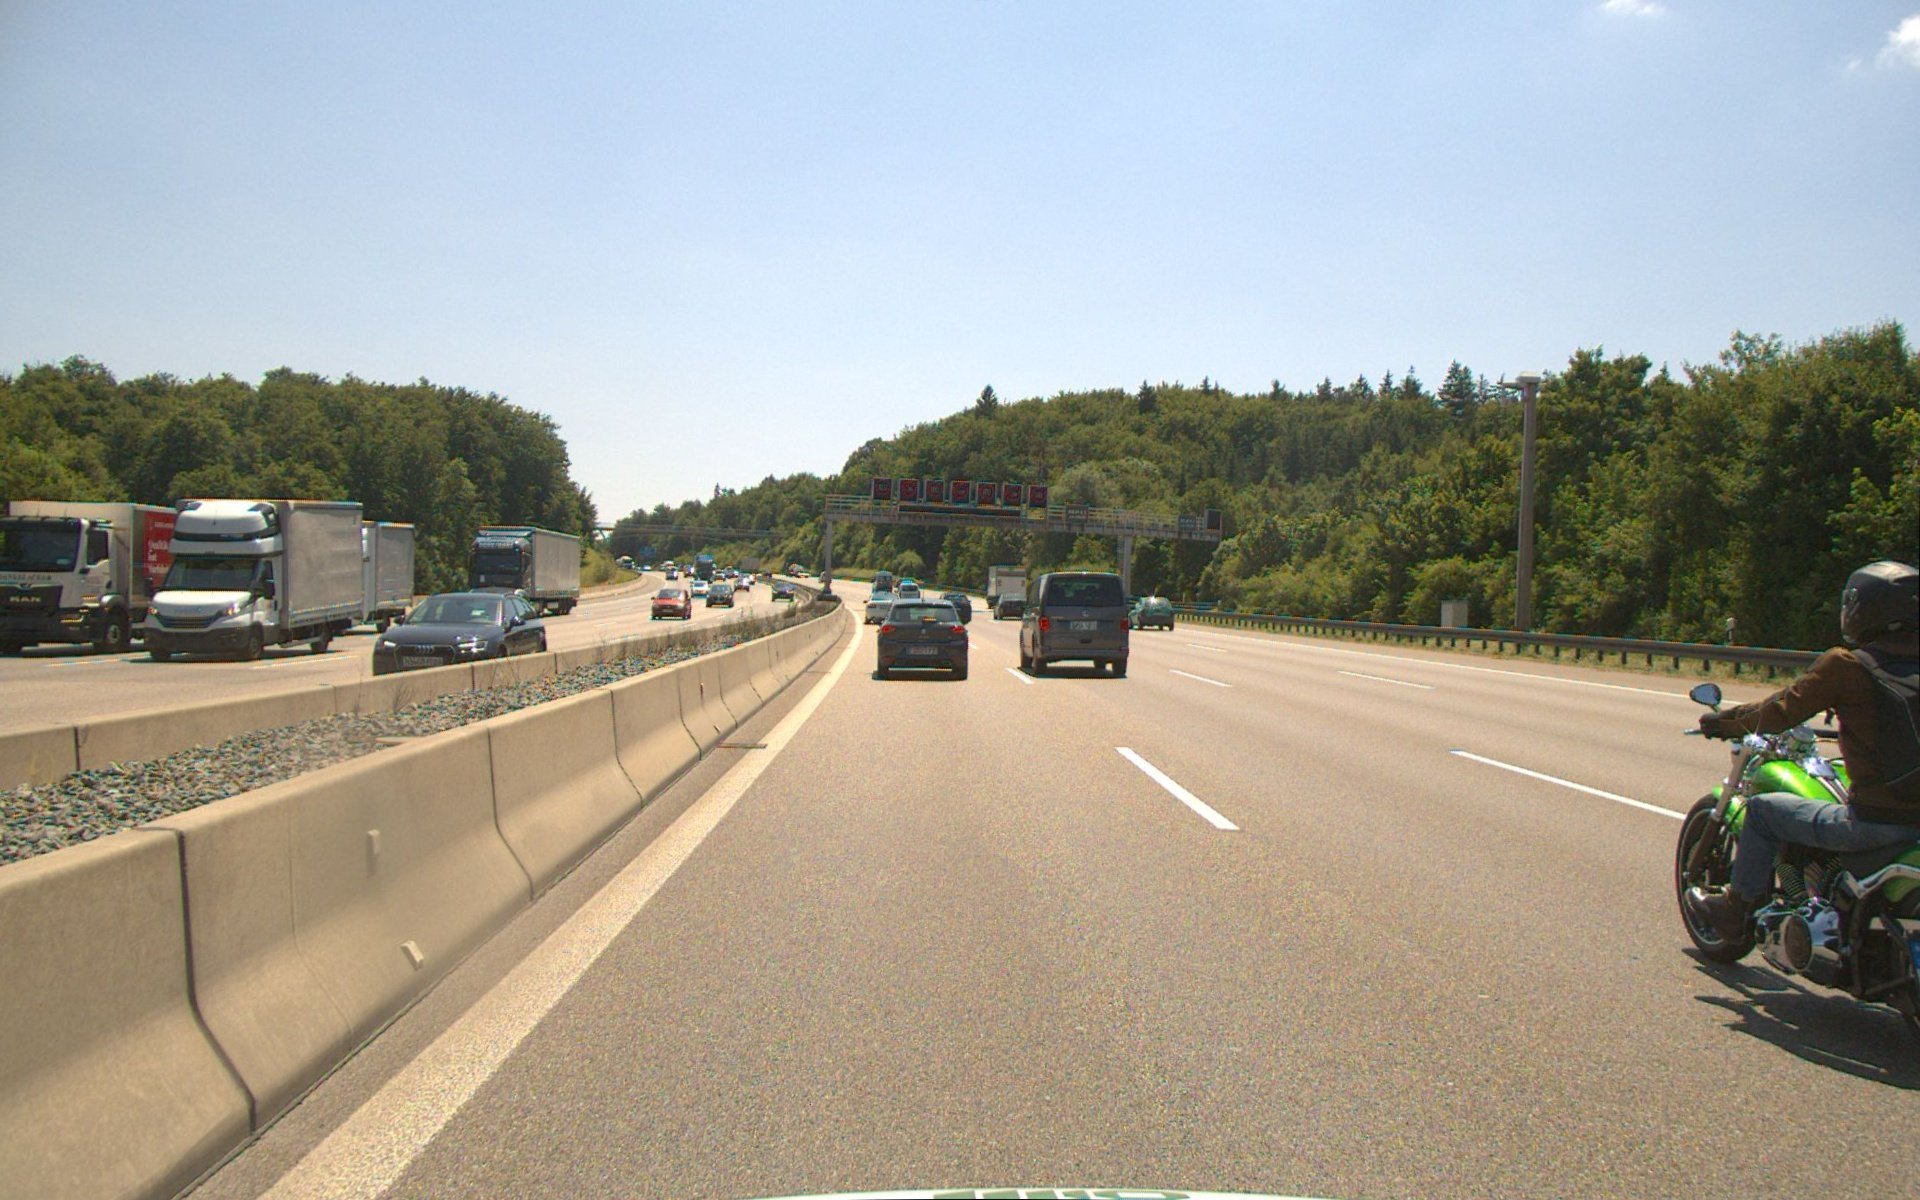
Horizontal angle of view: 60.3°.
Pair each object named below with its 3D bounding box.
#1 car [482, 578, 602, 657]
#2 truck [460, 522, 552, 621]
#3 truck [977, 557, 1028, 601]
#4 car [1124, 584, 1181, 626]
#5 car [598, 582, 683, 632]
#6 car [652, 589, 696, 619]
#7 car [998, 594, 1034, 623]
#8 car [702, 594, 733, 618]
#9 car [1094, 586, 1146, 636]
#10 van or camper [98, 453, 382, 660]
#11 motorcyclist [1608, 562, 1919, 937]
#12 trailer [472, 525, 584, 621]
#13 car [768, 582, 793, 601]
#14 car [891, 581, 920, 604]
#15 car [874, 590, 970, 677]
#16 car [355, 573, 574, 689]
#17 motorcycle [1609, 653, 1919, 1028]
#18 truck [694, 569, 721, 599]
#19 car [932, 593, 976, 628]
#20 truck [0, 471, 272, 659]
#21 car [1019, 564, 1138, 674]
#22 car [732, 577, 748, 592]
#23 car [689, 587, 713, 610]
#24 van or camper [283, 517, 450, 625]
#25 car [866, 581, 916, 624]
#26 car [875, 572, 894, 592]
[{"bbox_3d":[-10.087,0.389,40.314,1.705,1.793,5.117,1,0,-1],"label":"car"},{"bbox_3d":[-20.833,-1.261,76.240,2.819,4.365,6.448,1,0,-4],"label":"truck"},{"bbox_3d":[3.227,-1.669,128.122,2.928,3.222,7.564,1,1,-7],"label":"truck"},{"bbox_3d":[8.518,0.234,73.605,1.953,1.758,3.998,1,-1,-2],"label":"car"},{"bbox_3d":[-11.824,0.240,61.557,2.241,1.758,5.030,1,0,-1],"label":"car"},{"bbox_3d":[-14.015,0.204,81.179,1.636,1.422,3.997,2,-1,-4],"label":"car"},{"bbox_3d":[3.077,0.456,91.373,1.632,1.433,4.901,1,1,-2],"label":"car"},{"bbox_3d":[-16.978,0.432,115.757,1.726,1.547,4.358,2,-1,-4],"label":"car"},{"bbox_3d":[5.922,0.440,61.286,1.810,1.758,4.002,2,-1,5],"label":"car"},{"bbox_3d":[-15.352,-0.766,36.081,2.773,3.906,8.210,2,-1,-3],"label":"van or camper"},{"bbox_3d":[3.324,0.576,6.943,0.835,1.452,1.023,0,0,2],"label":"motorcyclist"},{"bbox_3d":[-21.230,-1.250,82.266,2.808,4.337,13.948,1,0,-4],"label":"trailer"},{"bbox_3d":[-15.673,-0.751,144.848,1.954,1.697,4.431,1,0,-4],"label":"car"},{"bbox_3d":[-4.381,-0.611,132.848,2.062,1.774,4.683,1,1,-5],"label":"car"},{"bbox_3d":[-0.727,0.586,31.396,1.673,1.458,3.999,1,1,-1],"label":"car"},{"bbox_3d":[-7.549,0.432,25.731,1.953,1.618,4.843,1,0,0],"label":"car"},{"bbox_3d":[3.335,0.842,6.733,0.524,1.155,2.437,0,0,3],"label":"motorcycle"},{"bbox_3d":[-38.100,-2.397,249.557,3.714,4.250,5.870,2,0,-7],"label":"truck"},{"bbox_3d":[-0.340,0.566,87.086,1.955,1.758,4.144,1,-1,-5],"label":"car"},{"bbox_3d":[-19.180,-0.639,38.280,2.812,3.762,9.236,2,-1,-2],"label":"truck"},{"bbox_3d":[2.342,0.351,33.957,1.923,2.069,5.081,1,0,-2],"label":"car"},{"bbox_3d":[-26.131,-1.811,196.610,1.720,1.663,4.633,1,1,-5],"label":"car"},{"bbox_3d":[-24.347,-0.139,155.611,1.954,2.049,3.996,1,0,-5],"label":"car"},{"bbox_3d":[-19.439,-0.825,54.734,2.709,3.180,8.091,2,-1,-2],"label":"van or camper"},{"bbox_3d":[-3.214,0.143,77.470,1.970,1.878,4.001,1,-2,3],"label":"car"},{"bbox_3d":[-9.221,-2.220,202.457,2.219,2.412,4.700,1,0,-2],"label":"car"}]
